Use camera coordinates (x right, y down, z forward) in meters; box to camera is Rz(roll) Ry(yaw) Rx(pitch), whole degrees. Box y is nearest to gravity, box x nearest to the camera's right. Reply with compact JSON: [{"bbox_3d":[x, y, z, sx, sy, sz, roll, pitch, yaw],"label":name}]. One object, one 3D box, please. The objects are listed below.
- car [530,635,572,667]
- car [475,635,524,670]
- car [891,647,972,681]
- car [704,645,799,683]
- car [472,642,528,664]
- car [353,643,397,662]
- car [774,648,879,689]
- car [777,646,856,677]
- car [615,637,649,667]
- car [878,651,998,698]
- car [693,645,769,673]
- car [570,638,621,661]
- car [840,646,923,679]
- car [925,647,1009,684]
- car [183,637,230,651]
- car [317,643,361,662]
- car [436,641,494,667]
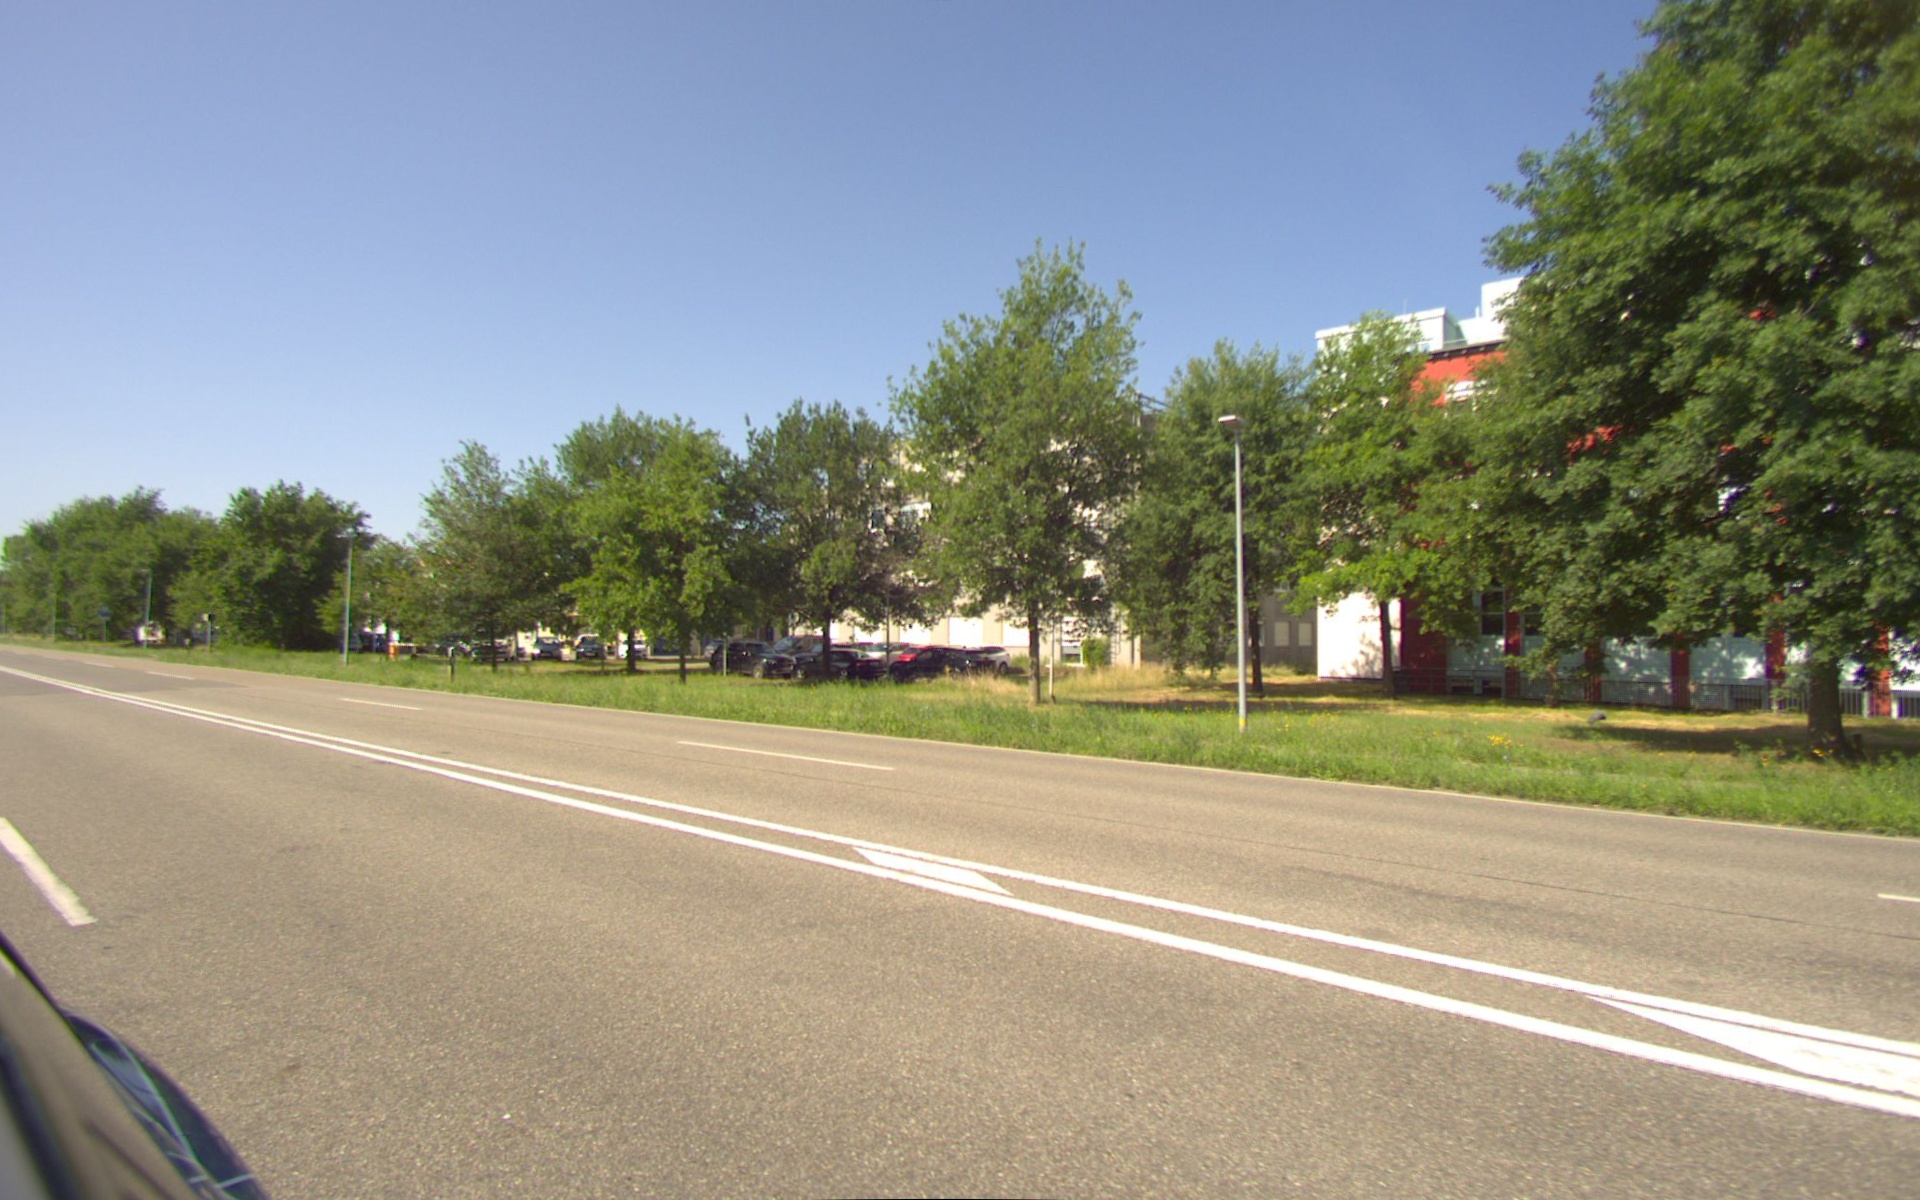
[{"bbox_3d":[-24.915,3.090,61.854,2.038,1.820,5.031,1,-2,-18],"label":"car"},{"bbox_3d":[-27.024,3.067,59.521,2.038,1.944,5.031,1,-2,-18],"label":"car"},{"bbox_3d":[-1.337,3.036,48.634,1.741,1.548,3.946,-2,-3,40],"label":"car"},{"bbox_3d":[-9.339,2.806,45.128,4.546,1.590,1.725,-2,-3,41],"label":"car"},{"bbox_3d":[-31.560,3.630,69.370,4.188,1.404,1.909,-1,-3,40],"label":"car"},{"bbox_3d":[-45.014,4.031,77.854,3.998,1.360,1.654,-2,-3,41],"label":"car"},{"bbox_3d":[-5.586,2.800,42.001,4.546,1.590,1.725,-2,-3,41],"label":"car"},{"bbox_3d":[-7.596,3.247,53.800,1.886,1.548,3.946,-2,-3,40],"label":"car"},{"bbox_3d":[-21.670,3.399,66.757,2.038,1.820,5.031,1,-2,-18],"label":"car"},{"bbox_3d":[-0.874,2.737,37.777,4.546,1.590,1.725,-2,-3,41],"label":"car"},{"bbox_3d":[-13.228,3.364,58.579,1.886,1.548,3.946,-2,-3,40],"label":"car"},{"bbox_3d":[-27.605,3.751,76.611,4.167,1.670,1.837,-2,-3,41],"label":"car"},{"bbox_3d":[-3.871,3.058,50.108,1.886,1.548,3.946,-2,-3,40],"label":"car"},{"bbox_3d":[0.376,3.012,47.061,1.741,1.598,4.093,-2,-3,40],"label":"car"},{"bbox_3d":[-86.096,5.007,115.638,1.757,1.512,3.945,-2,-3,41],"label":"car"},{"bbox_3d":[-46.368,3.933,75.519,3.998,1.360,1.654,-2,-3,41],"label":"car"},{"bbox_3d":[-33.098,3.581,67.652,4.188,1.664,1.909,-1,-3,40],"label":"car"}]
